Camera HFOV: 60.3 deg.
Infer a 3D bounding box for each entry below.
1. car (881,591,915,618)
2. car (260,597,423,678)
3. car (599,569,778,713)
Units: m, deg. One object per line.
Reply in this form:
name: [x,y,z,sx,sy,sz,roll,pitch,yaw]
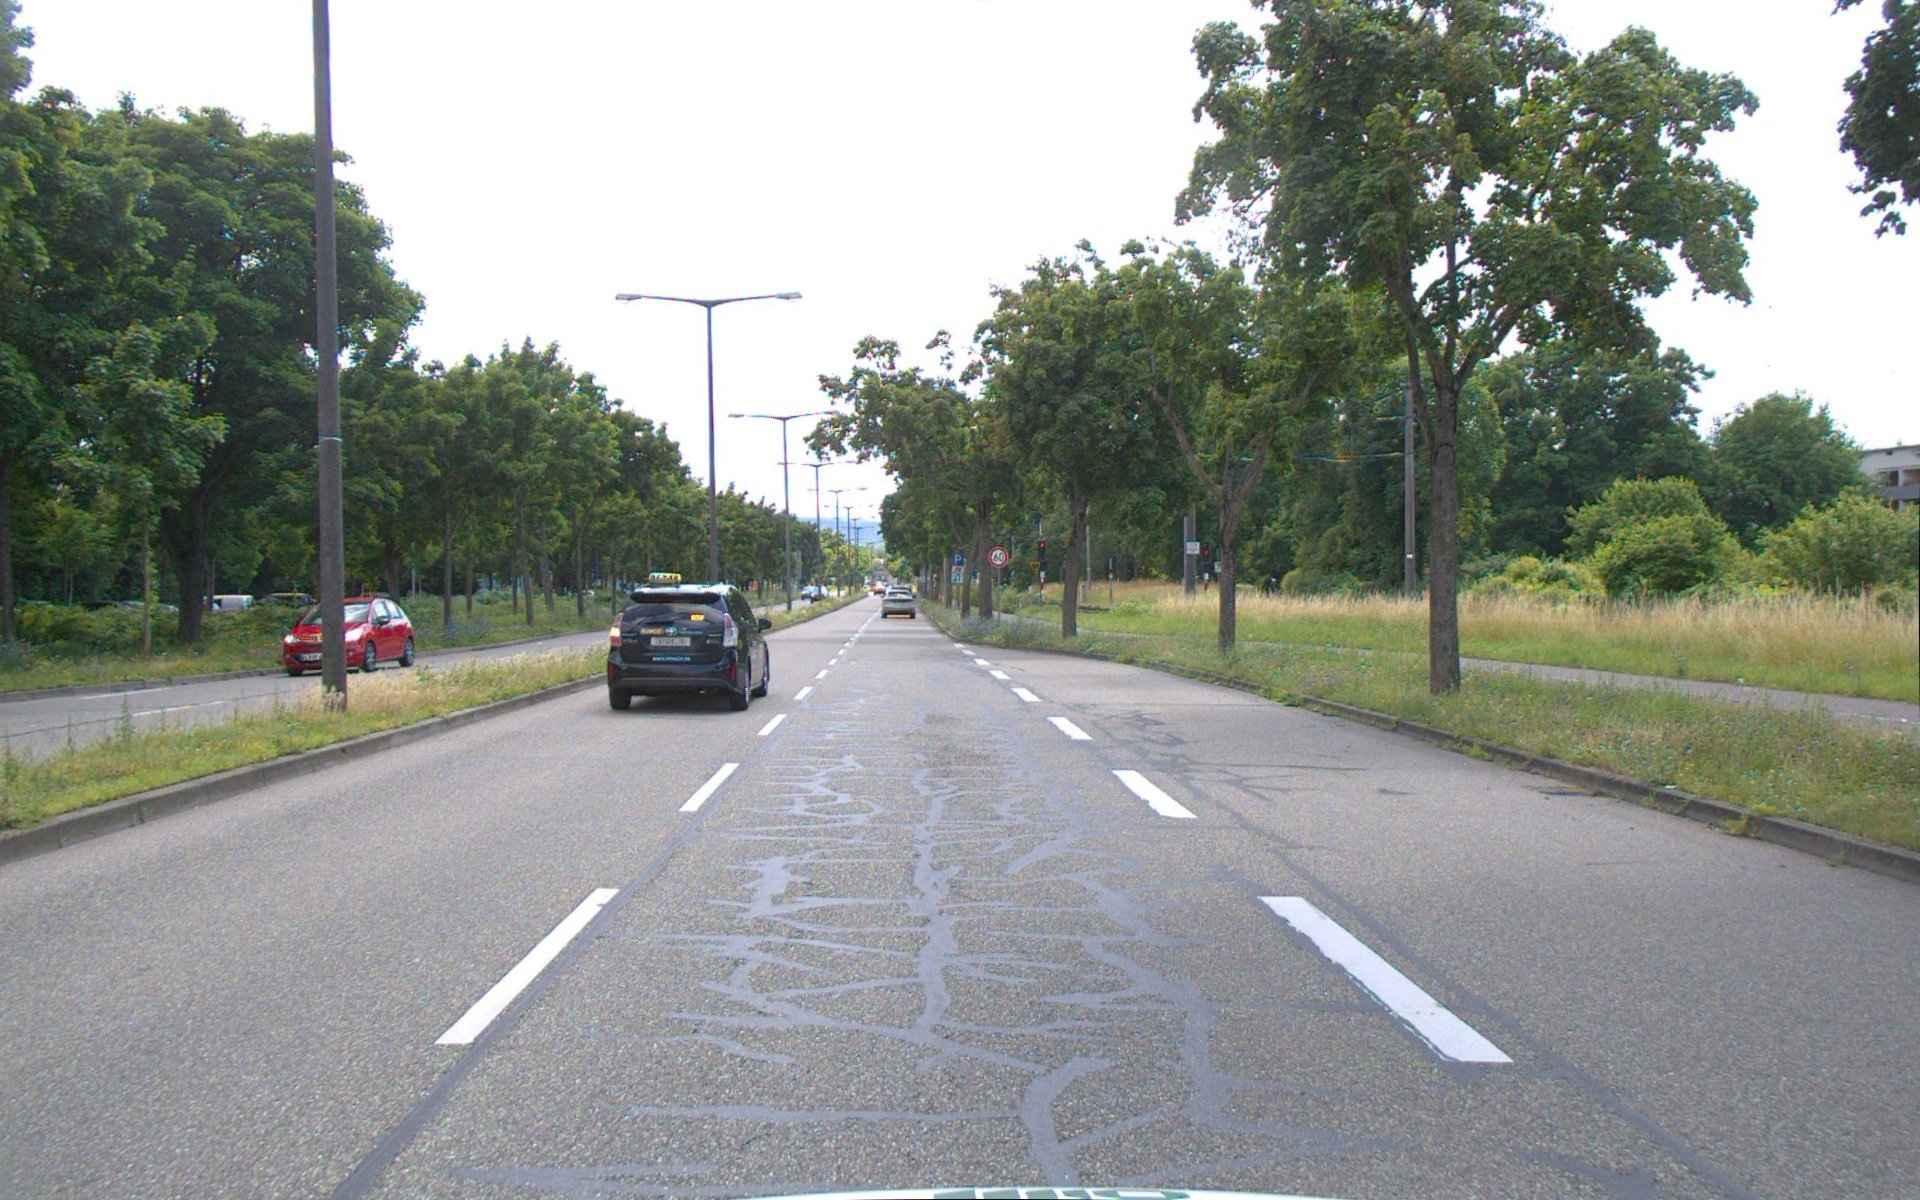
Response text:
car: [-3.649,0.249,96.975,1.954,1.534,3.998,1,1,-3]
car: [-12.826,0.745,34.546,1.840,1.534,3.799,1,1,2]
car: [-3.492,0.474,21.933,1.743,1.713,3.999,1,1,-1]
